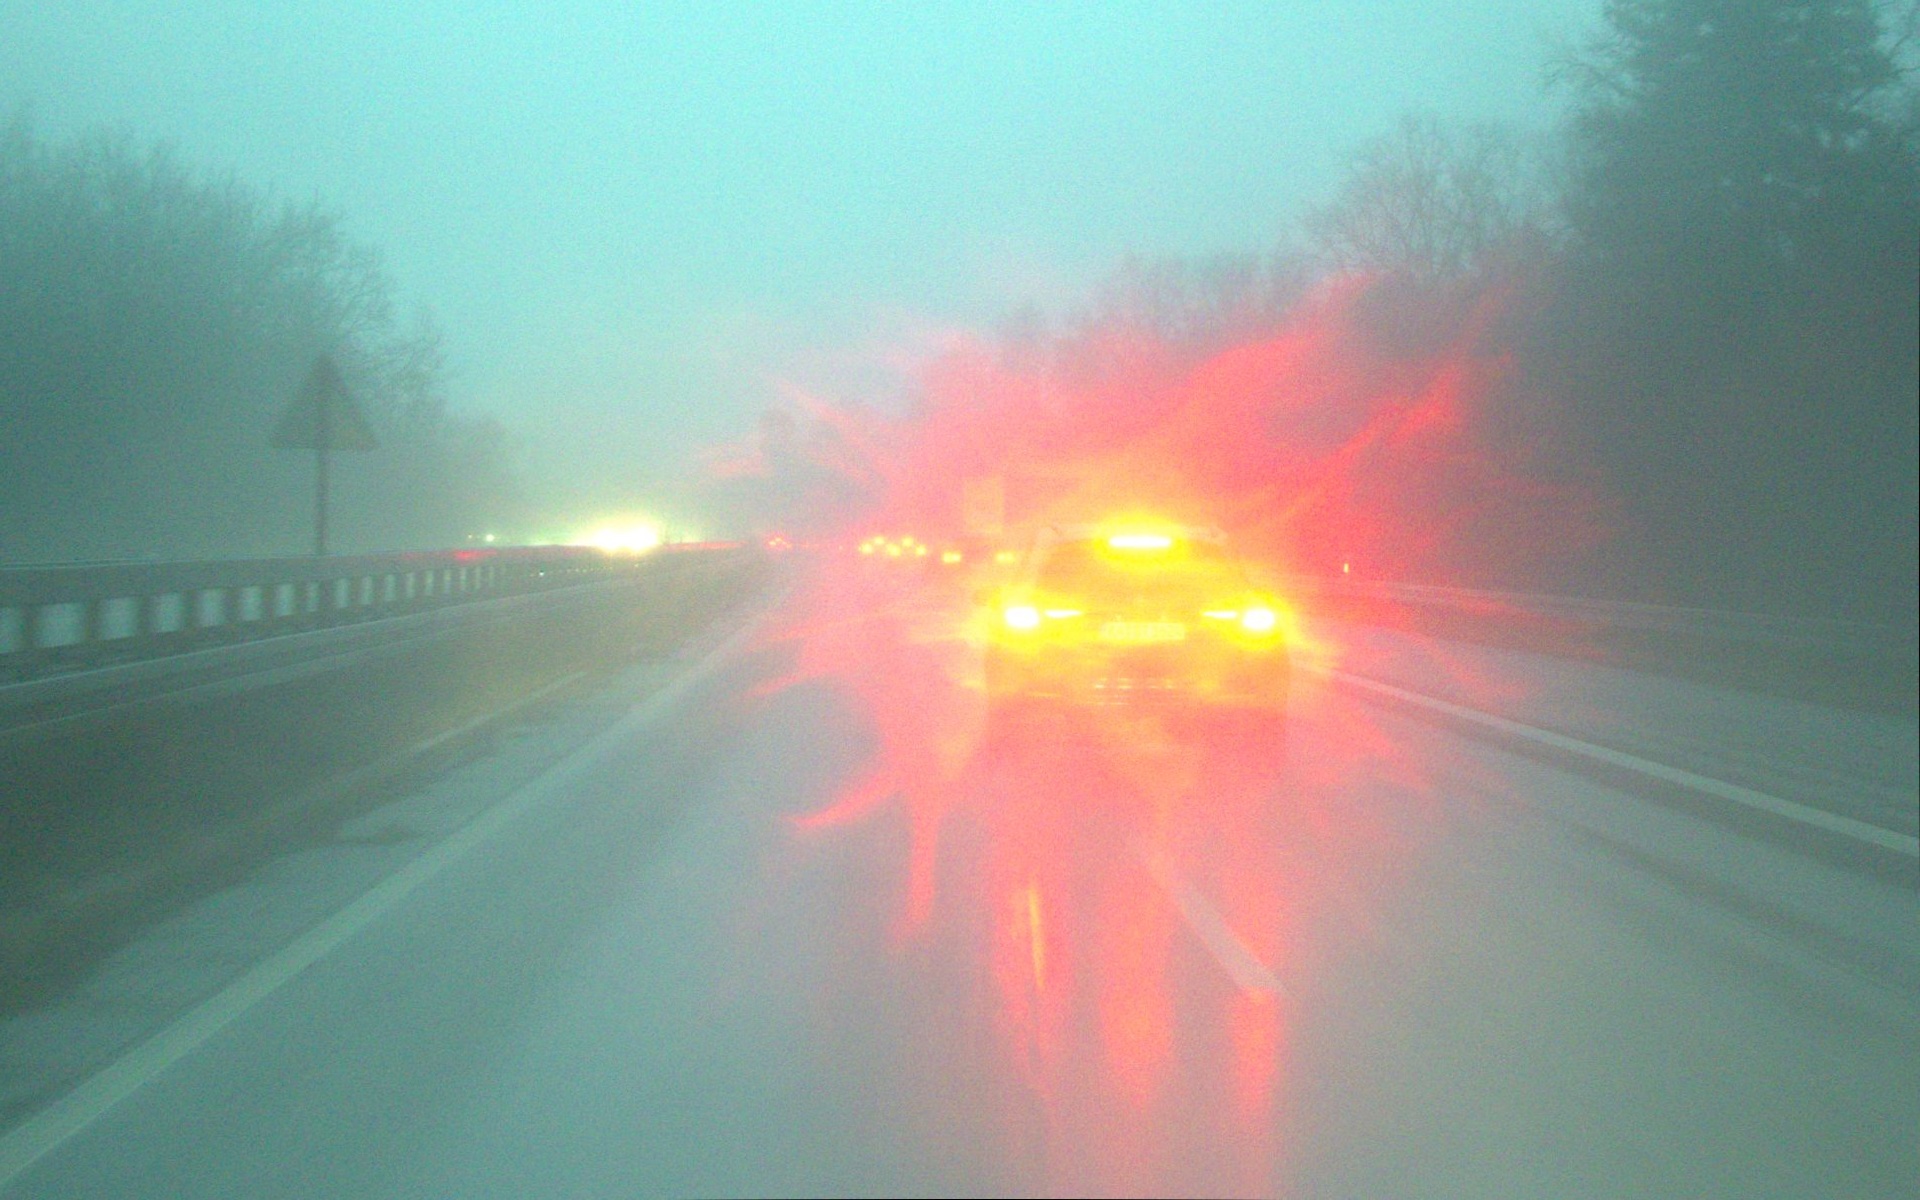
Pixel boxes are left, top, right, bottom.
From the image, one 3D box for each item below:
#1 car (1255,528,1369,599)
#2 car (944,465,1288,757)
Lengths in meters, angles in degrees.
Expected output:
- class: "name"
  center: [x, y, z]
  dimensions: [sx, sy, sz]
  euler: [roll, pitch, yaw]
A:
- class: "car"
  center: [7.290, -0.760, 71.561]
  dimensions: [1.865, 1.414, 4.000]
  euler: [1, 1, -1]
- class: "car"
  center: [0.960, 0.050, 23.262]
  dimensions: [1.924, 1.785, 3.941]
  euler: [1, 1, -3]
